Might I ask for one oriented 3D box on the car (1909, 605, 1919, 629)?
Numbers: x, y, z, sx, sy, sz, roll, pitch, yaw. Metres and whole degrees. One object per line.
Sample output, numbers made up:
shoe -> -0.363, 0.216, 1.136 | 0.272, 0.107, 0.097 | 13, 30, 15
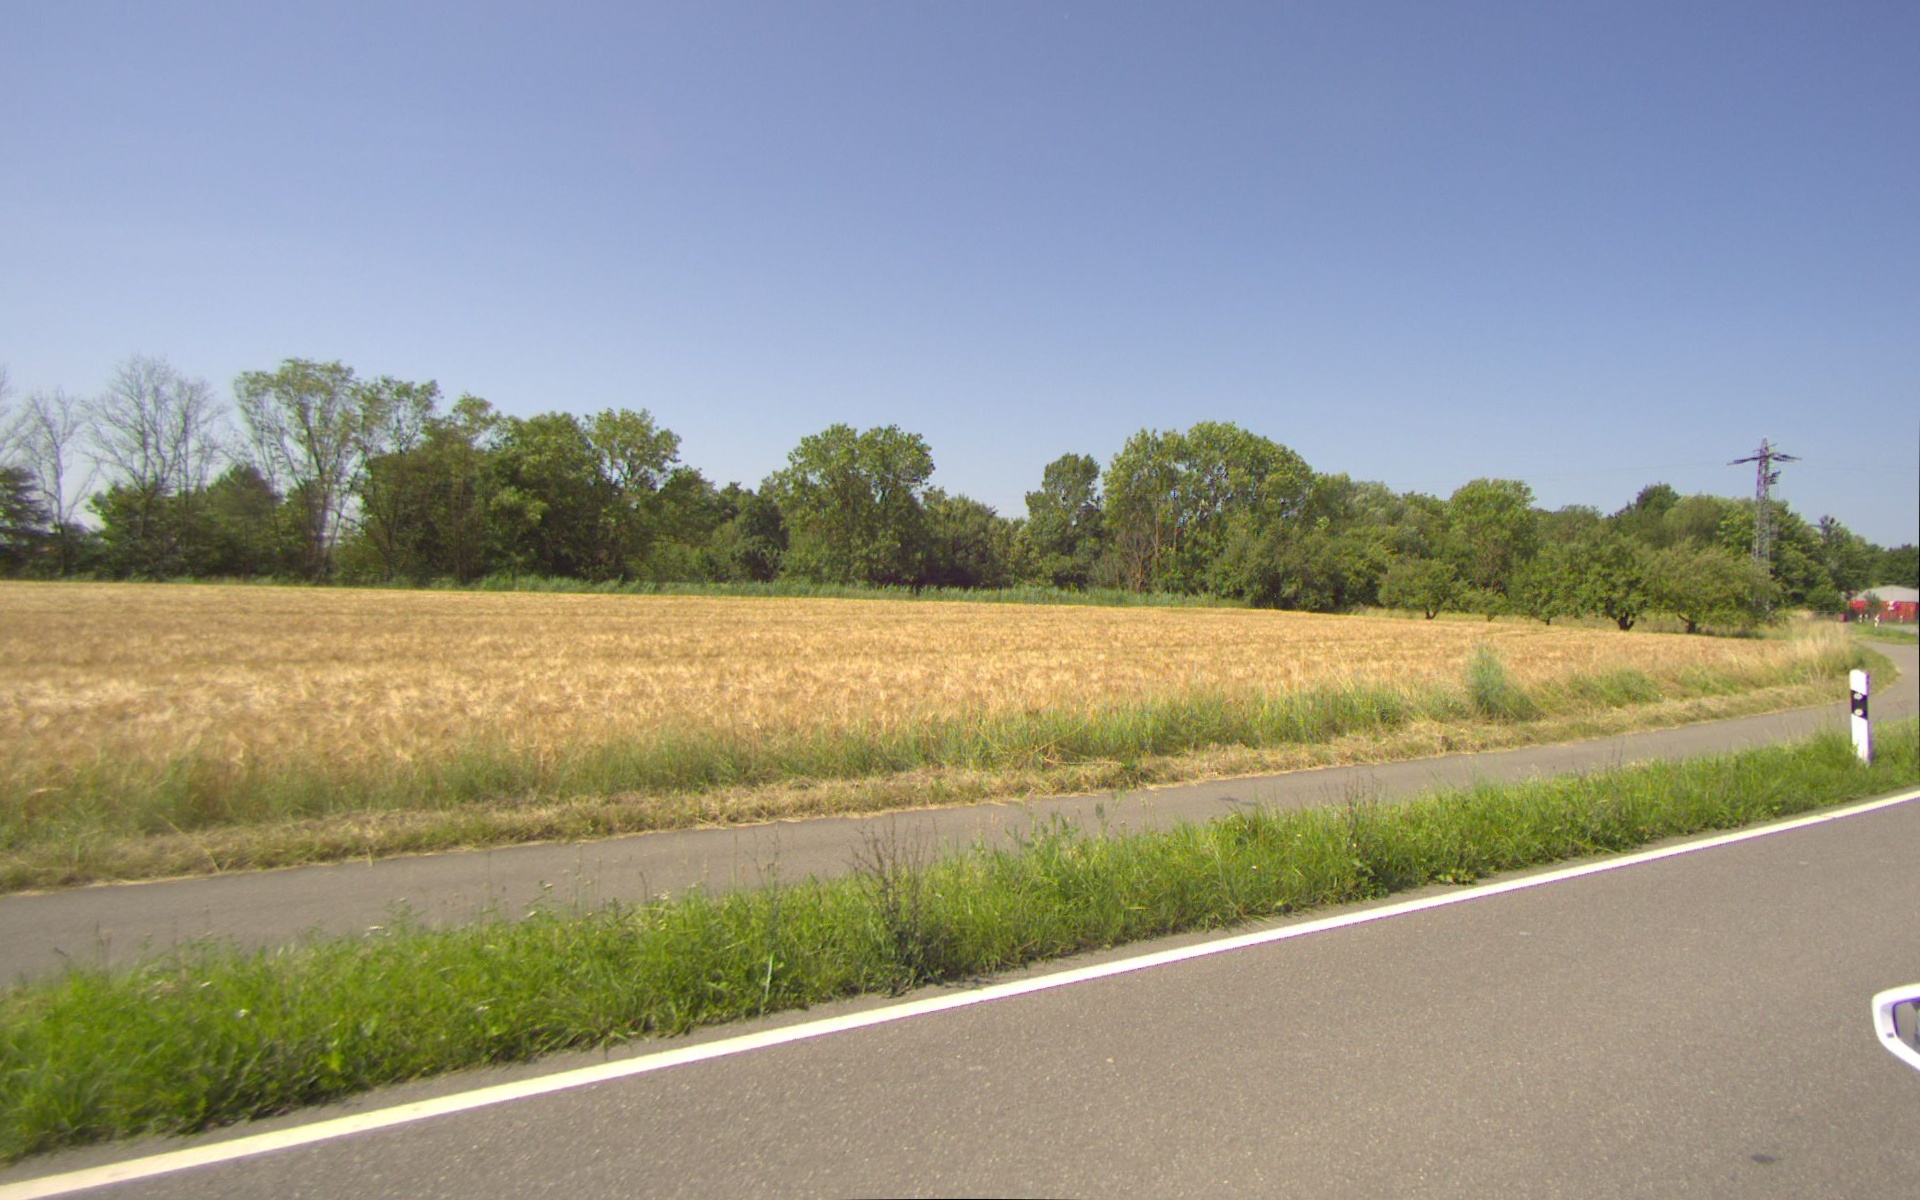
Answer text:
car -> 95.986, 1.680, 99.892 | 1.970, 2.296, 4.704 | 2, 1, 39
